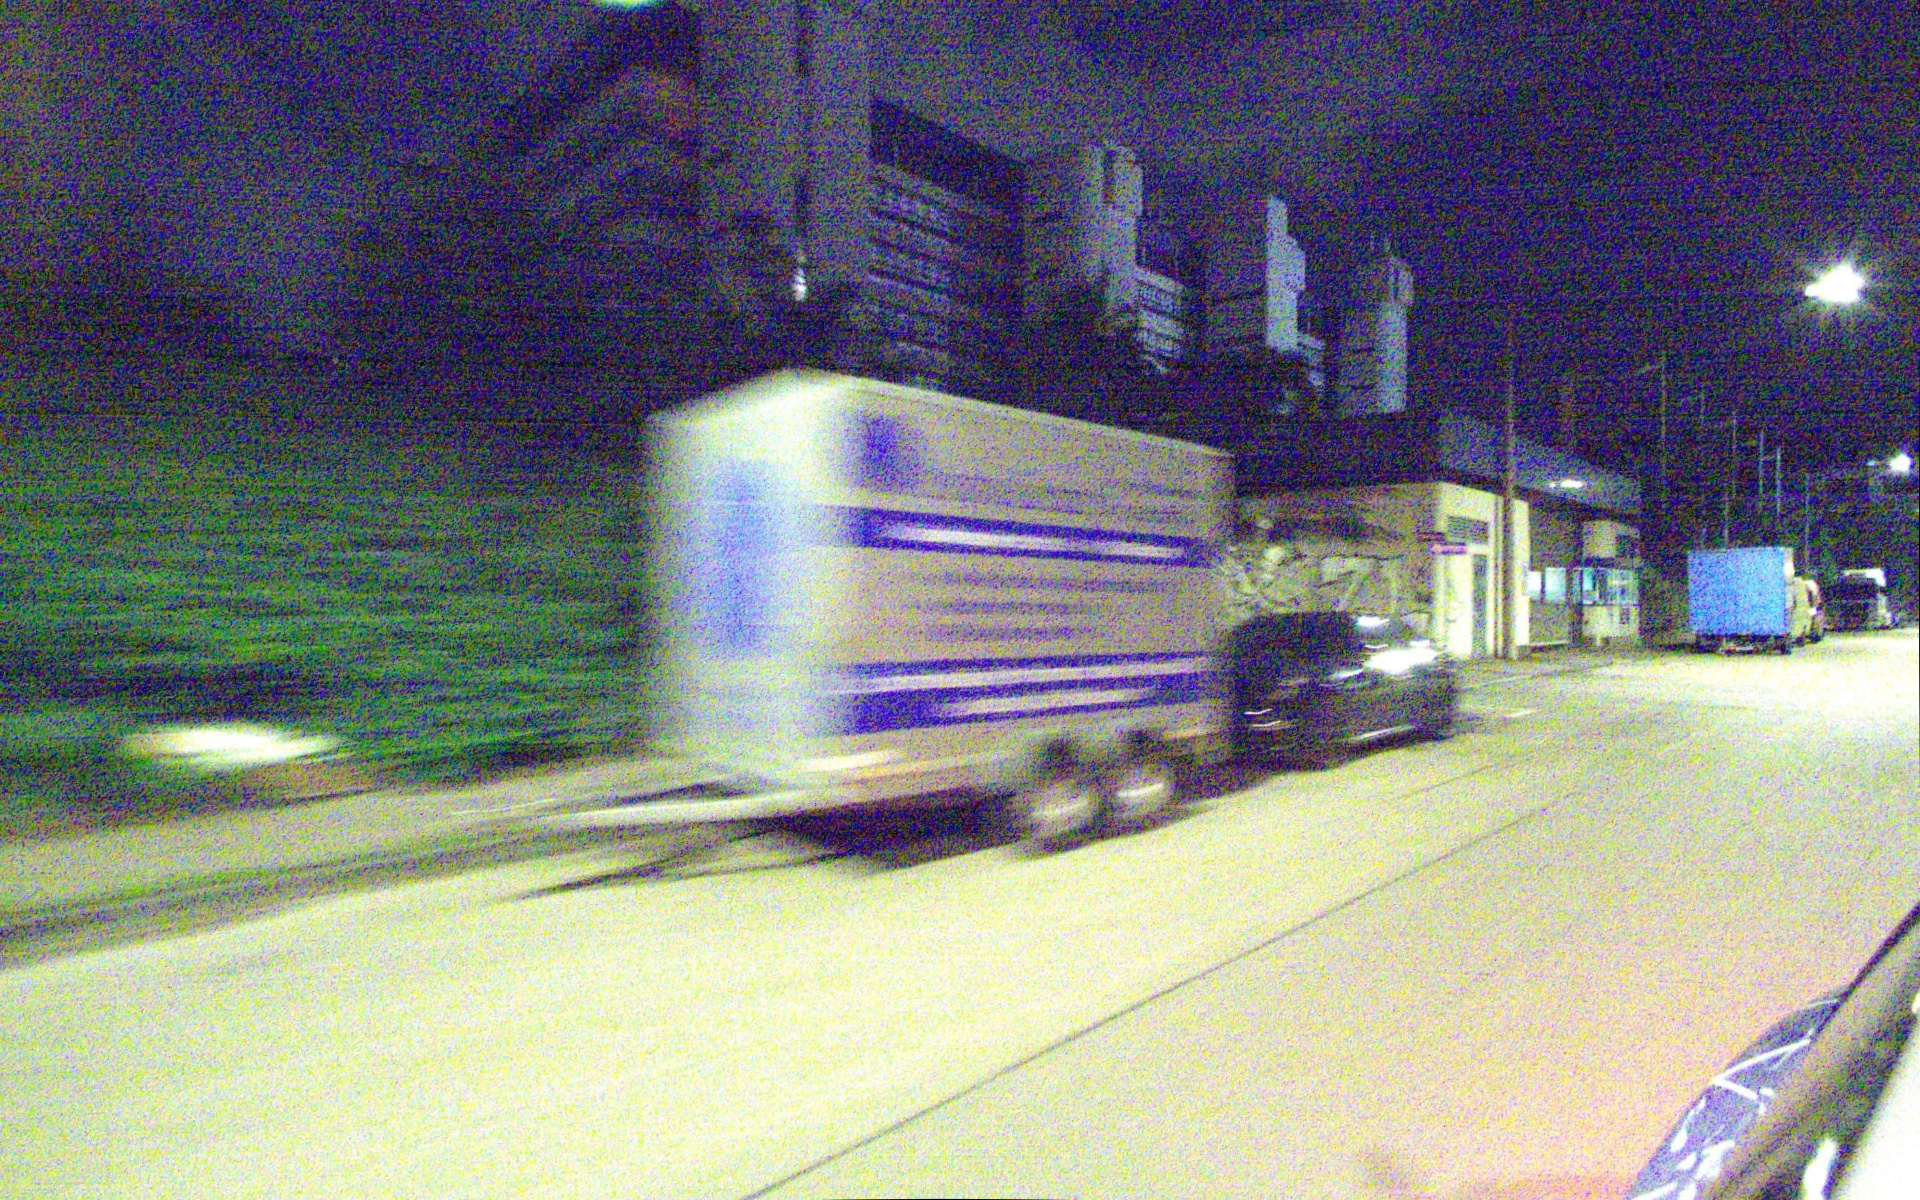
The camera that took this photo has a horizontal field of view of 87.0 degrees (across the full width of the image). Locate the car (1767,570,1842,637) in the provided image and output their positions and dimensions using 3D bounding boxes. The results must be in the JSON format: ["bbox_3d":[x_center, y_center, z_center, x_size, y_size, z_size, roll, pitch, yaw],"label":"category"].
[{"bbox_3d":[35.188,0.125,42.099,1.993,2.580,5.931,-2,-1,43],"label":"car"}]

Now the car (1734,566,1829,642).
[{"bbox_3d":[30.467,0.118,37.432,6.537,2.580,1.941,-1,-1,-44],"label":"car"}]

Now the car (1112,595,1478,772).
[{"bbox_3d":[3.651,0.688,10.482,1.727,1.404,4.601,-2,-1,45],"label":"car"}]

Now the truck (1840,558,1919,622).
[{"bbox_3d":[61.541,-0.668,67.352,12.433,3.886,2.514,-1,-1,-40],"label":"truck"}]

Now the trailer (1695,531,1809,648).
[{"bbox_3d":[24.730,-0.285,31.549,2.397,3.368,4.295,-2,-1,43],"label":"trailer"}]

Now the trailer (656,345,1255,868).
[{"bbox_3d":[0.124,0.024,7.261,3.931,2.685,1.996,-1,-1,-42],"label":"trailer"}]
